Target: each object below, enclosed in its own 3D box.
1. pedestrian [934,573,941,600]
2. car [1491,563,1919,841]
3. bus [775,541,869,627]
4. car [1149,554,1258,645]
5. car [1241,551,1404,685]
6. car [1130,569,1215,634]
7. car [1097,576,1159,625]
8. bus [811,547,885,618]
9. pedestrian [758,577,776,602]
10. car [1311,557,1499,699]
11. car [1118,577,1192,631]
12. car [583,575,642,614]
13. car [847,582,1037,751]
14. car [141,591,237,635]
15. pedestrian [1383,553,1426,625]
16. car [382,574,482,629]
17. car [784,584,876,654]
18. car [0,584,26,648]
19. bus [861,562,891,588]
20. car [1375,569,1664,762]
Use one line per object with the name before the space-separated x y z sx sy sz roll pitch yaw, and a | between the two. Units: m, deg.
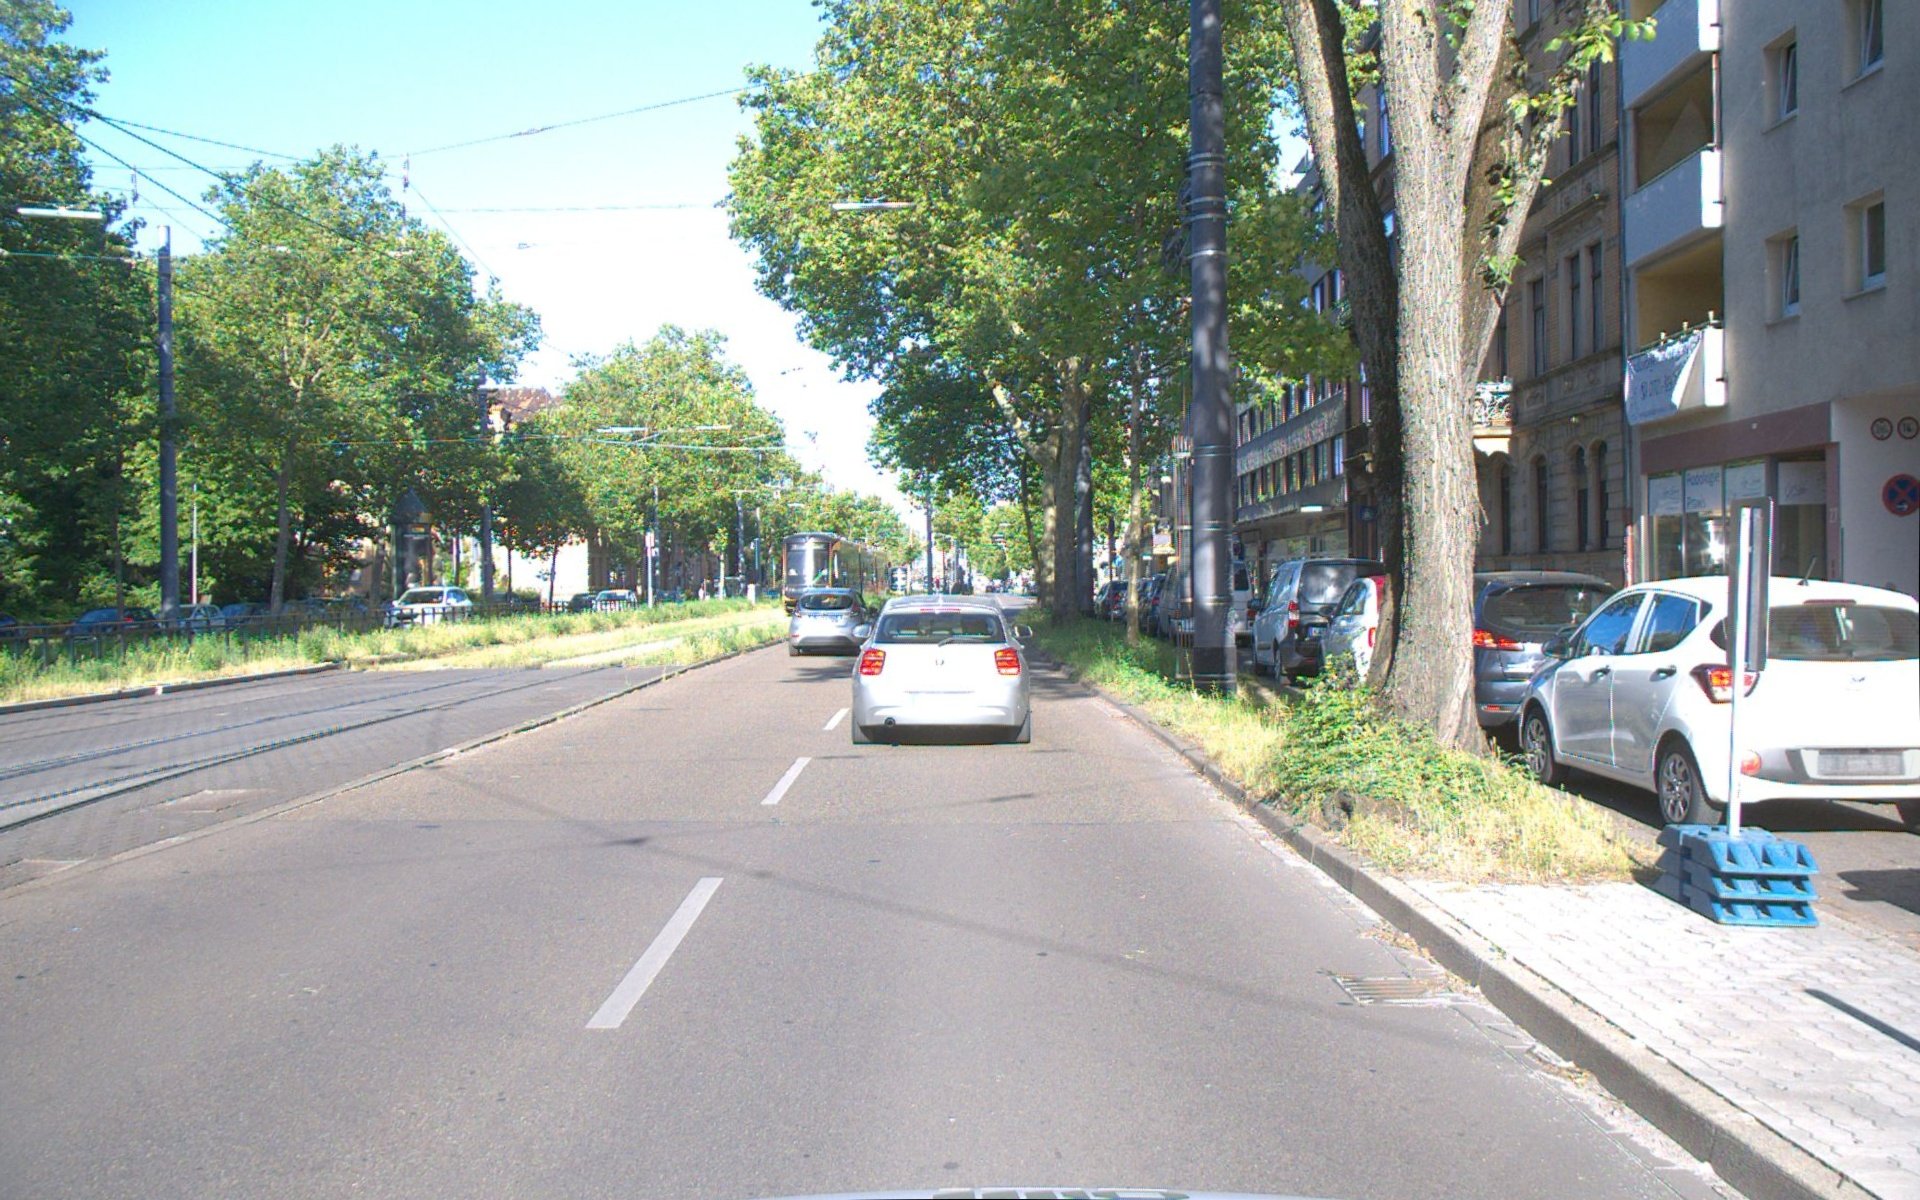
pedestrian | -1.604 -0.972 117.539 0.442 1.936 0.584 0 0 -6
car | 4.977 0.533 11.031 1.593 1.502 3.697 1 2 -1
bus | -6.060 -0.748 74.827 2.809 3.504 13.220 0 1 1
car | 5.282 -0.076 36.425 1.826 1.847 4.801 1 2 2
car | 5.046 0.177 23.506 1.591 1.697 4.144 1 2 3
car | 5.397 -0.015 42.395 1.669 1.528 4.359 1 1 1
car | 5.585 -0.017 55.499 1.768 1.515 4.921 1 1 2
bus | -5.780 -0.931 87.493 2.809 3.504 12.217 0 1 1
pedestrian | -12.831 -0.707 109.952 1.154 1.672 0.891 -1 0 -6
car | 5.182 0.256 19.622 1.480 1.506 3.494 1 2 4
car | 5.727 0.075 49.011 1.643 1.492 4.670 1 1 0
car | -15.069 -0.264 71.893 1.807 1.556 3.874 1 2 -1
car | -0.152 0.596 17.253 1.726 1.457 4.001 1 2 0
car | -26.002 0.423 55.876 1.535 1.335 3.505 1 2 1
pedestrian | 11.763 -0.289 43.777 0.979 1.872 0.715 0 0 3
car | -17.484 0.016 54.964 1.847 1.647 4.598 1 2 0
car | -2.827 0.380 36.596 1.612 1.386 3.761 1 2 1
car | -26.928 0.453 44.126 1.784 1.713 4.000 1 2 0
bus | -12.841 -3.934 254.315 2.809 3.691 24.610 0 1 1
car | 5.024 0.497 15.360 1.529 1.511 3.789 1 2 3
